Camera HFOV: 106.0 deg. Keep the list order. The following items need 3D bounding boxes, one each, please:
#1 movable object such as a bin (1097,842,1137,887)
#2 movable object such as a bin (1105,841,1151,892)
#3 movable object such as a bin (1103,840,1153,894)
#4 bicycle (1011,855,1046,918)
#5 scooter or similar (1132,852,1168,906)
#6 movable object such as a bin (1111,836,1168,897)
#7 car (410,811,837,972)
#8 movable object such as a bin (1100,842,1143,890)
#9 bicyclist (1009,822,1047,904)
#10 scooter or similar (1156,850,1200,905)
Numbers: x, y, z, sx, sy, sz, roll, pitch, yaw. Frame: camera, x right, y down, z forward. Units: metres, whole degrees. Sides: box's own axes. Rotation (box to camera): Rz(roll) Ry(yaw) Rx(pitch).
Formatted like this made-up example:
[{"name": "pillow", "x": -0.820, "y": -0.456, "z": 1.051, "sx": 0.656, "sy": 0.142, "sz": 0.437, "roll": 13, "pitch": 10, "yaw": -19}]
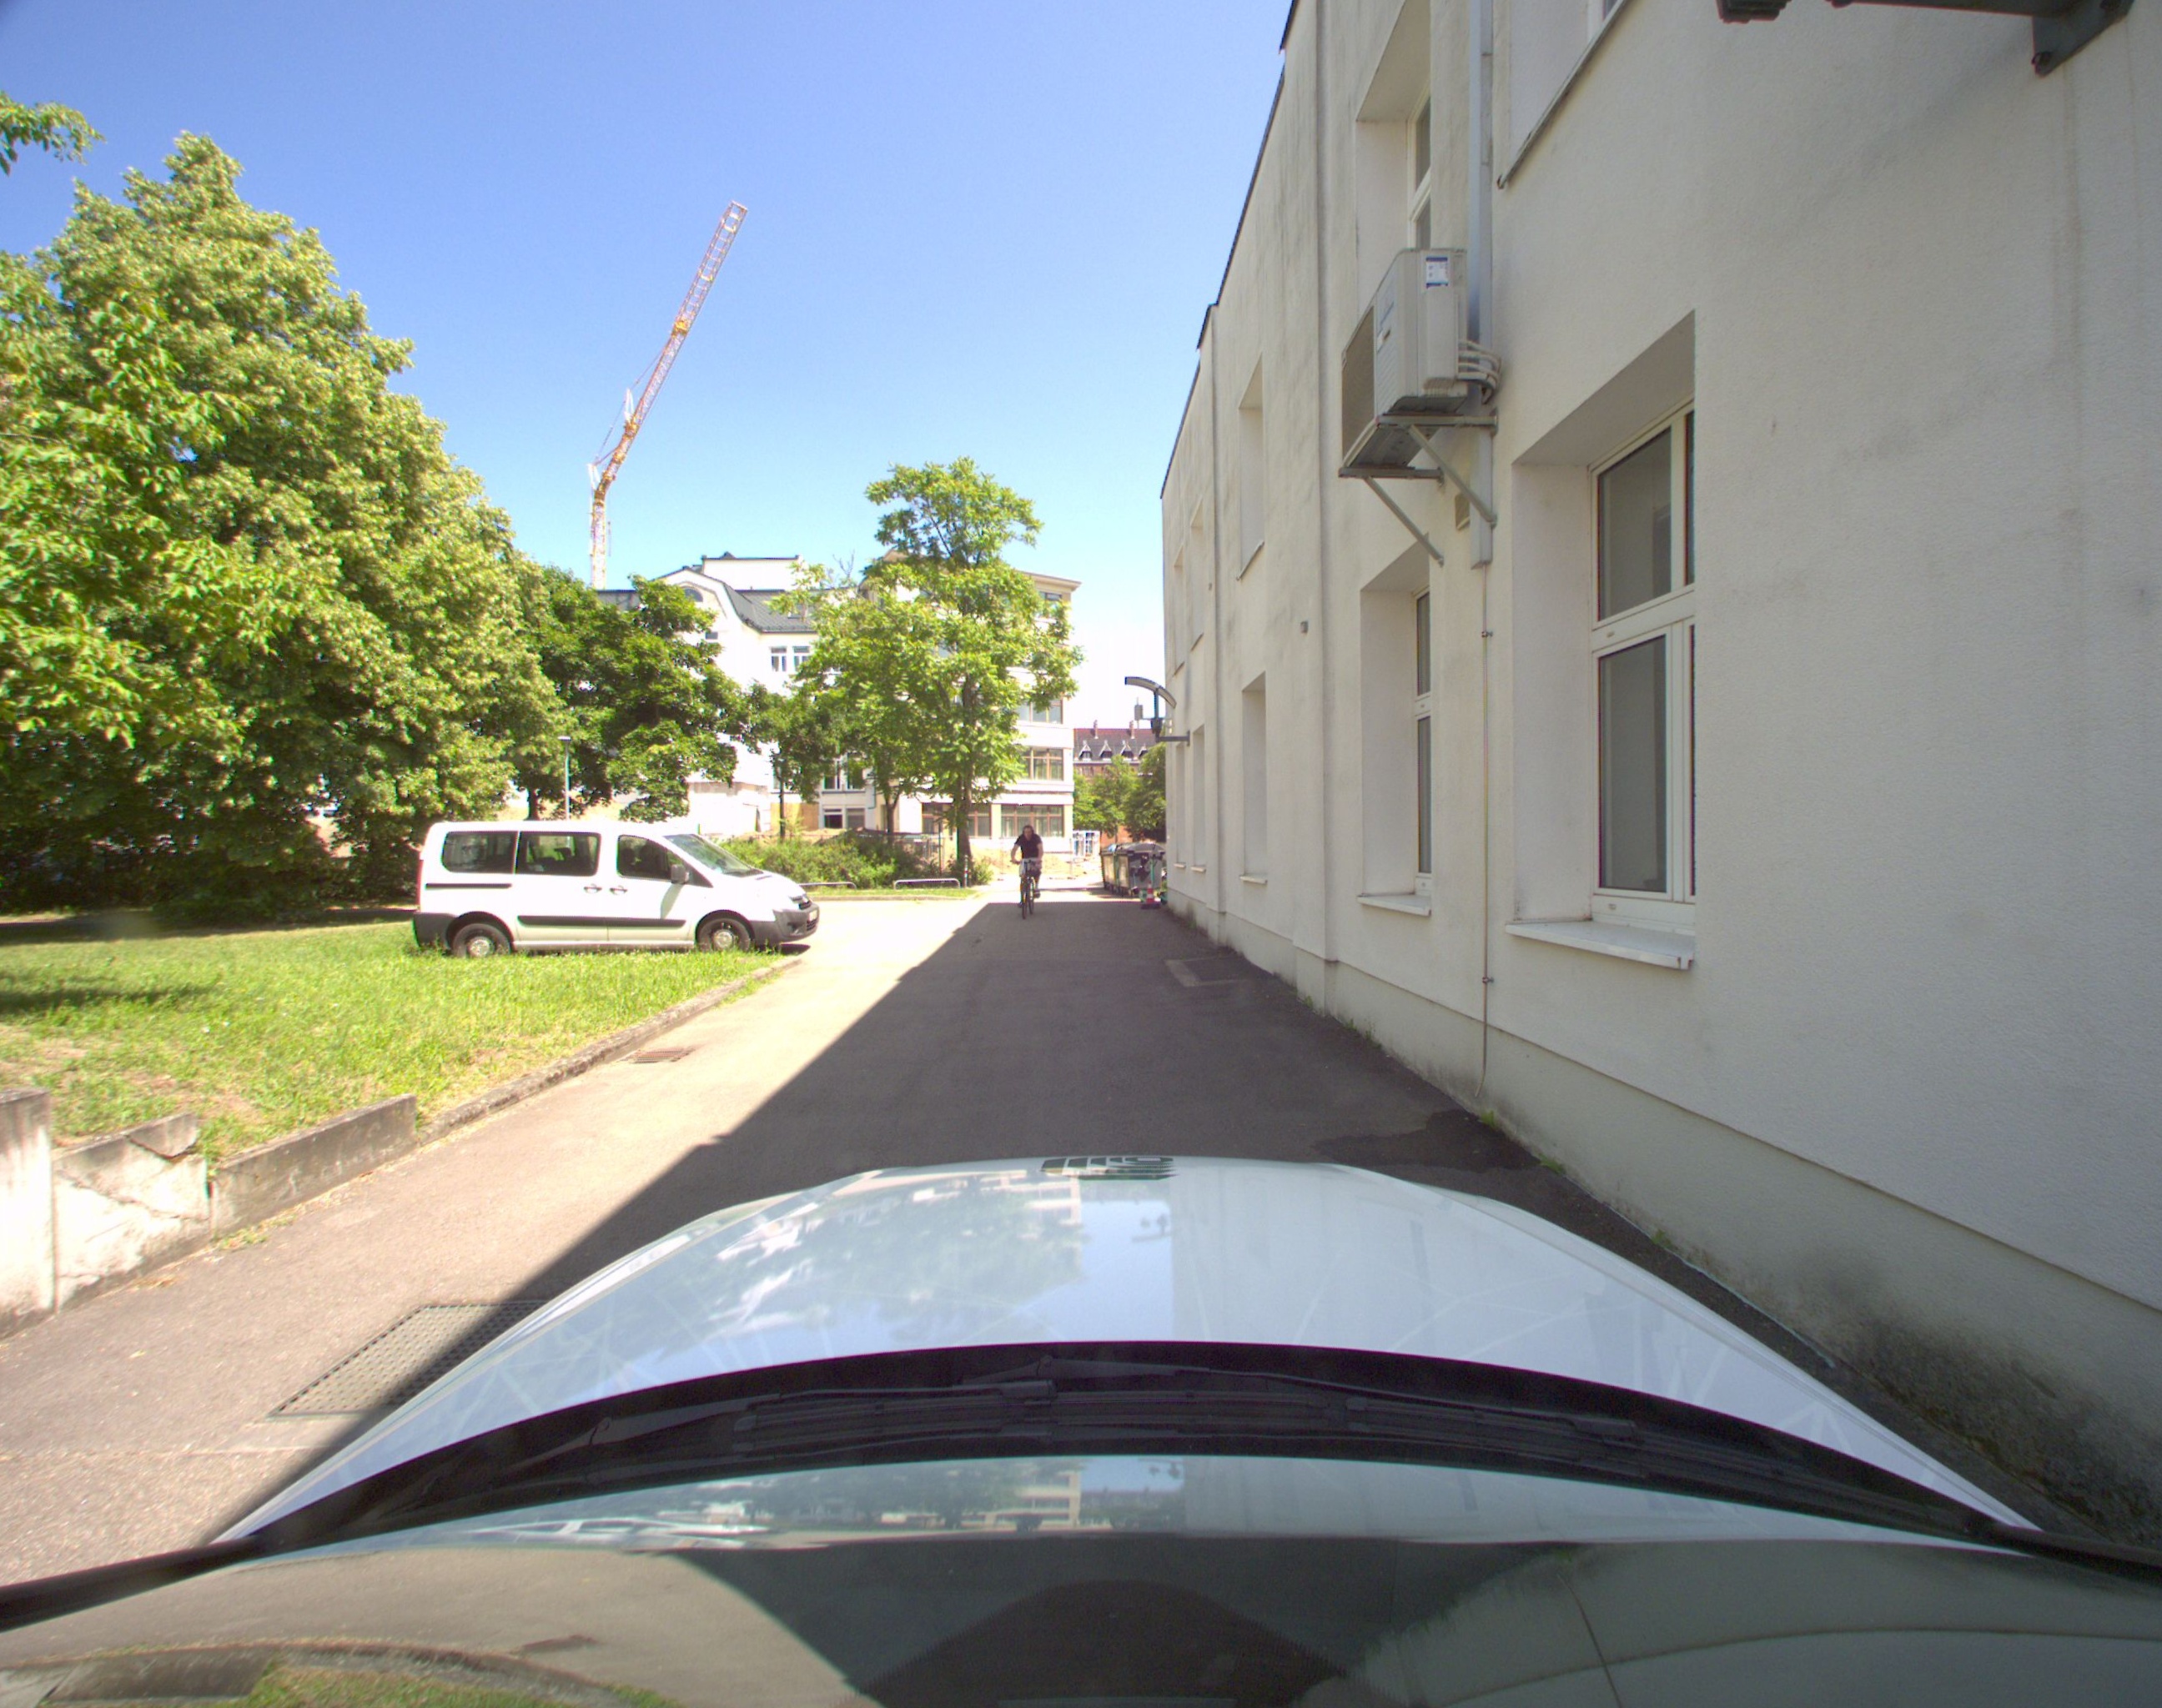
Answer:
[{"name": "movable object such as a bin", "x": 1.209, "y": 0.362, "z": 27.362, "sx": 1.172, "sy": 1.470, "sz": 1.336, "roll": -1, "pitch": -1, "yaw": 9}, {"name": "movable object such as a bin", "x": 1.382, "y": 0.368, "z": 24.388, "sx": 1.177, "sy": 1.470, "sz": 1.309, "roll": 0, "pitch": -1, "yaw": -6}, {"name": "movable object such as a bin", "x": 1.318, "y": 0.348, "z": 23.001, "sx": 1.178, "sy": 1.470, "sz": 1.308, "roll": 0, "pitch": -1, "yaw": -8}, {"name": "bicycle", "x": -1.083, "y": 0.621, "z": 16.456, "sx": 0.643, "sy": 1.174, "sz": 1.901, "roll": -1, "pitch": 1, "yaw": -6}, {"name": "scooter or similar", "x": 1.541, "y": 0.540, "z": 18.355, "sx": 0.463, "sy": 1.174, "sz": 1.352, "roll": -1, "pitch": 0, "yaw": -10}, {"name": "movable object such as a bin", "x": 1.513, "y": 0.318, "z": 21.261, "sx": 1.155, "sy": 1.505, "sz": 1.457, "roll": 0, "pitch": -1, "yaw": -11}, {"name": "car", "x": -6.123, "y": 0.462, "z": 11.499, "sx": 4.784, "sy": 1.911, "sz": 1.995, "roll": -2, "pitch": -1, "yaw": -7}, {"name": "movable object such as a bin", "x": 1.268, "y": 0.361, "z": 25.825, "sx": 1.178, "sy": 1.470, "sz": 1.308, "roll": 0, "pitch": -1, "yaw": -7}, {"name": "bicyclist", "x": -1.082, "y": 0.166, "z": 16.434, "sx": 0.721, "sy": 1.609, "sz": 0.976, "roll": 0, "pitch": 0, "yaw": -5}, {"name": "scooter or similar", "x": 2.160, "y": 0.510, "z": 18.239, "sx": 0.465, "sy": 1.174, "sz": 1.248, "roll": -1, "pitch": 0, "yaw": -19}]
